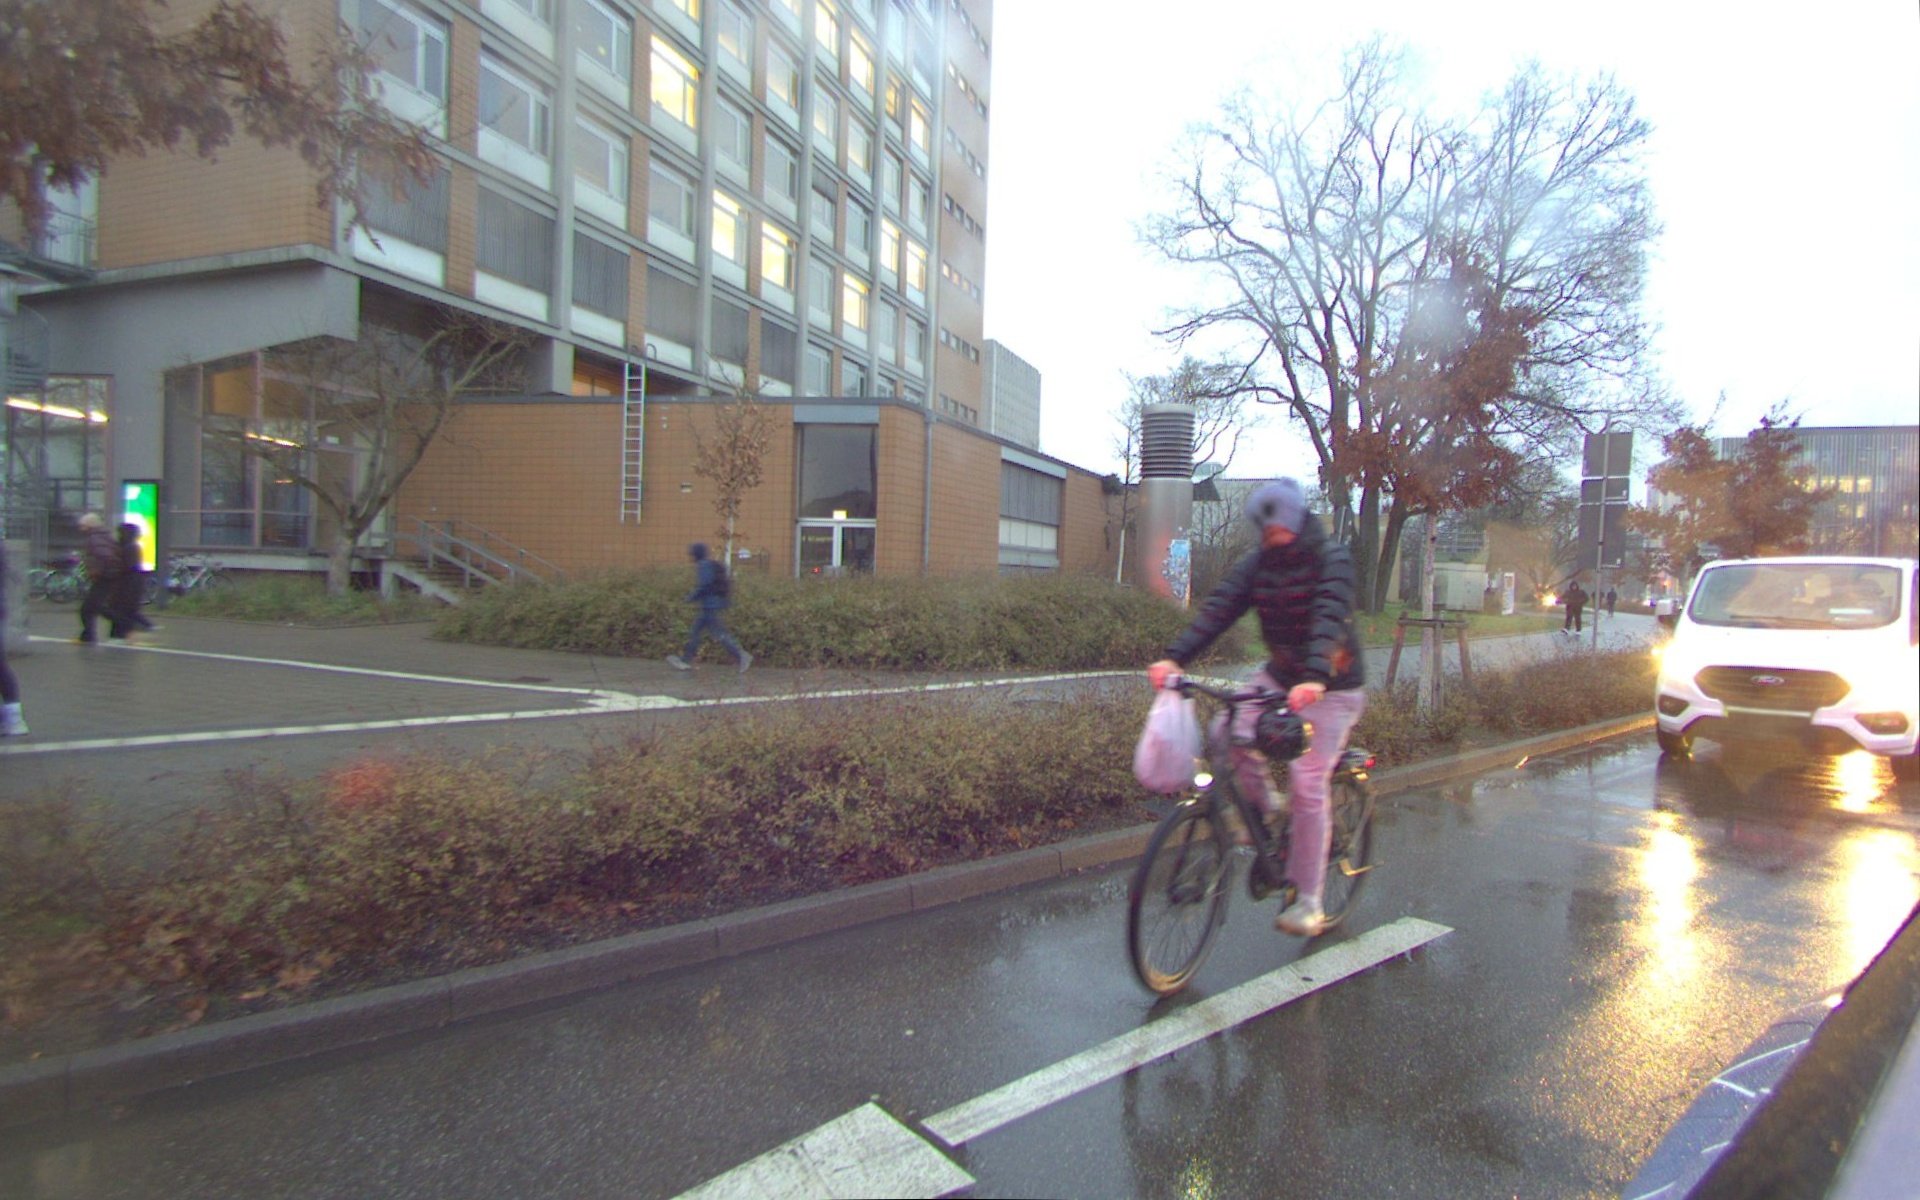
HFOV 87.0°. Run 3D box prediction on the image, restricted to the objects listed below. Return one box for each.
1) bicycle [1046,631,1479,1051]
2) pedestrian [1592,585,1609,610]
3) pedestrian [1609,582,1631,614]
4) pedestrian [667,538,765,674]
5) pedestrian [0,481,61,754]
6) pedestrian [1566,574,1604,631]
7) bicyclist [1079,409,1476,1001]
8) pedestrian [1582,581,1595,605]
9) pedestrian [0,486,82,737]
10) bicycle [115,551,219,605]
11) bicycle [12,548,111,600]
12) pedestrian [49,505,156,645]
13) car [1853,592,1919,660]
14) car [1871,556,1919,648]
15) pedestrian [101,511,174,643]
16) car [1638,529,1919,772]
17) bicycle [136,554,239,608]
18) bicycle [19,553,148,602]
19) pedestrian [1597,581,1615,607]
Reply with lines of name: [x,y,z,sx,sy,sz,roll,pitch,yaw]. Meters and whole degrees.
bicycle: [1.282,0.777,4.068,1.871,1.238,0.793,0,0,-41]
pedestrian: [49.145,-0.203,77.664,0.924,1.848,0.827,3,2,26]
pedestrian: [39.607,-0.141,60.755,0.924,1.848,0.827,3,2,26]
pedestrian: [-3.214,0.058,13.381,1.050,1.708,0.810,2,2,1]
pedestrian: [-6.335,0.086,6.475,0.599,1.708,0.671,3,2,-16]
pedestrian: [19.723,0.075,31.924,0.906,1.708,0.917,4,1,32]
bicyclist: [1.273,0.330,4.051,1.214,1.907,1.026,0,0,-41]
pedestrian: [53.515,-0.591,86.141,0.758,2.038,0.903,2,2,25]
pedestrian: [-6.868,0.064,7.169,0.744,1.708,0.722,1,1,-16]
bicycle: [-17.257,-0.482,22.067,0.437,1.115,1.781,2,2,24]
bicycle: [-20.103,-0.581,22.689,0.384,1.115,1.790,2,2,11]
pedestrian: [-11.583,-0.342,13.684,0.841,1.813,0.746,2,1,13]
car: [23.323,0.674,24.463,4.236,1.523,1.755,3,-1,-37]
car: [29.033,0.172,29.690,5.757,2.550,2.347,3,-1,-37]
pedestrian: [-11.590,-0.329,14.268,0.575,1.813,0.558,2,1,15]
car: [8.905,0.470,10.448,4.932,1.945,2.133,3,0,-44]
bicycle: [-16.633,-0.421,21.837,0.397,1.115,1.781,2,2,24]
bicycle: [-19.181,-0.493,22.211,0.700,1.003,2.044,2,2,24]
pedestrian: [47.335,-0.423,74.128,0.924,1.848,0.827,3,2,26]
